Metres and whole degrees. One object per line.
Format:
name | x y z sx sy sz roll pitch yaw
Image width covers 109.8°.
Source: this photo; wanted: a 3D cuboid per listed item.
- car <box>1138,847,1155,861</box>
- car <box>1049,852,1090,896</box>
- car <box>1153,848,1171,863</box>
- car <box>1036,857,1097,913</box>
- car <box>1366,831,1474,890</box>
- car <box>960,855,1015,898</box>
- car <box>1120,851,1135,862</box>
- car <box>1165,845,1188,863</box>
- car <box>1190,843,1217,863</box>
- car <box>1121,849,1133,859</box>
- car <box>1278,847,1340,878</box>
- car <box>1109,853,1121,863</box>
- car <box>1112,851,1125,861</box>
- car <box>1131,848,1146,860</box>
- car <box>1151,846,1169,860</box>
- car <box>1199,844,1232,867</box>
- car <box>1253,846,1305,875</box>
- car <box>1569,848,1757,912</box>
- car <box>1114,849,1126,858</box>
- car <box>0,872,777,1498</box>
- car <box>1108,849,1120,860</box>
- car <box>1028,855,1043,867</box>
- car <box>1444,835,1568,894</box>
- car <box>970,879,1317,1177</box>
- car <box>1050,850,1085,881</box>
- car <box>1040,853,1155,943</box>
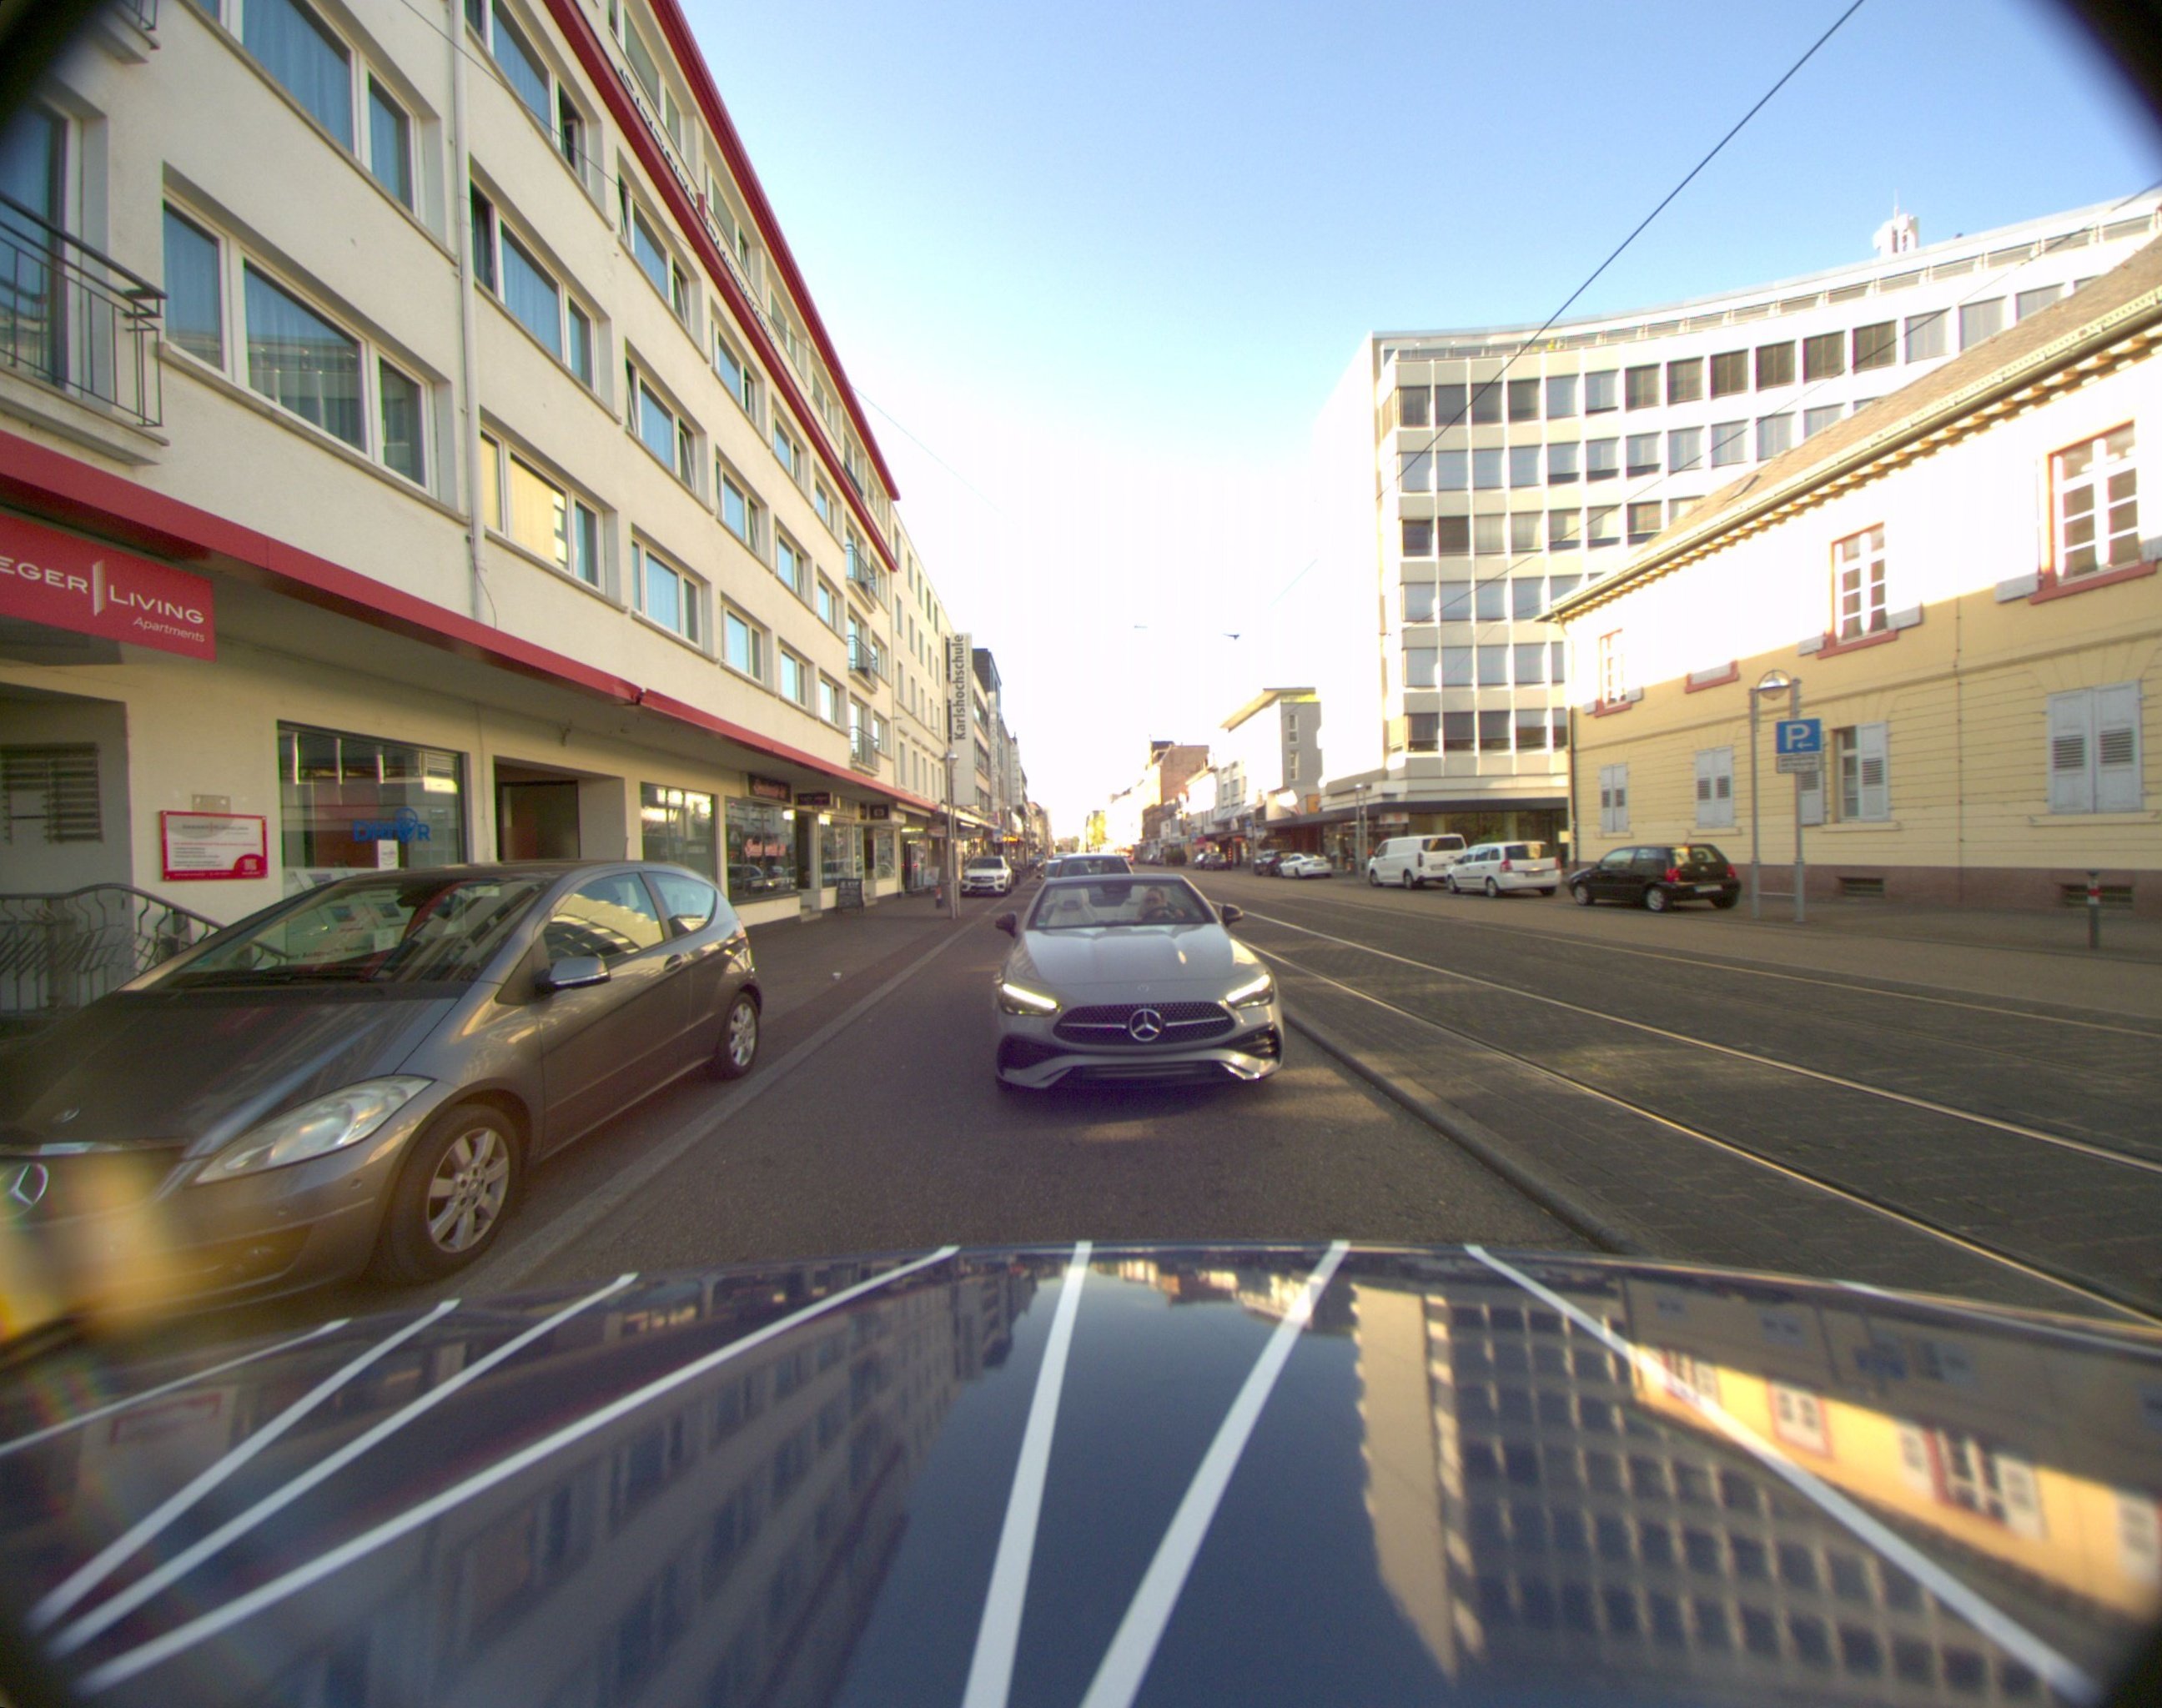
car | 10.242 0.007 119.410 1.999 2.002 5.319 -1 0 -3
car | -0.490 0.799 31.938 1.573 1.670 3.688 -2 1 -1
car | 10.749 0.202 100.868 1.998 2.002 4.000 -1 0 1
car | -0.443 0.865 23.303 1.648 1.506 3.844 -2 0 -1
car | 12.685 0.232 28.782 2.040 2.002 4.621 -1 0 1
car | -3.843 0.890 31.712 1.999 1.620 3.998 -1 0 -4
car | 7.009 0.326 114.048 1.760 1.587 3.999 -1 0 -2
car | 11.352 0.020 90.501 2.200 2.030 3.999 -1 0 -1
car | 11.896 -0.066 74.066 1.789 1.870 3.999 -1 0 -2
car | 9.548 -0.062 157.303 1.999 2.002 3.999 -1 0 -2
car | 12.573 0.423 42.247 1.999 1.521 4.373 -2 1 -1
car | 6.107 0.707 136.128 1.964 1.499 4.000 -2 1 4
car | 7.435 0.364 151.106 1.999 2.002 3.998 -2 1 -2
car | 10.163 -0.025 134.815 1.999 2.002 3.998 -2 0 -6
car | 11.543 -0.163 111.335 1.999 2.002 3.998 -2 1 -2
car | 11.559 0.123 65.493 1.999 1.849 3.998 -2 1 -2
car | 12.337 0.362 47.690 1.999 1.694 4.107 -3 1 -2
car | 12.892 0.514 17.085 1.688 1.246 3.212 -2 1 -1
car | 9.043 -0.102 176.526 2.148 1.850 3.998 -2 1 -2
car | -3.223 0.937 3.973 1.683 1.537 3.999 -2 0 -1
car | 6.287 0.041 143.999 1.914 1.883 3.855 -2 1 -2
car | -5.635 0.863 94.877 1.714 1.430 3.756 -2 1 -1
car | 12.789 0.268 23.164 1.641 1.600 4.005 -2 1 3
car | 0.217 1.012 6.180 1.884 1.375 3.998 -2 1 -4
car | -0.831 0.668 47.386 1.999 1.793 3.999 -2 1 -1
car | 0.195 0.784 15.555 1.927 1.533 3.998 -2 0 -4
